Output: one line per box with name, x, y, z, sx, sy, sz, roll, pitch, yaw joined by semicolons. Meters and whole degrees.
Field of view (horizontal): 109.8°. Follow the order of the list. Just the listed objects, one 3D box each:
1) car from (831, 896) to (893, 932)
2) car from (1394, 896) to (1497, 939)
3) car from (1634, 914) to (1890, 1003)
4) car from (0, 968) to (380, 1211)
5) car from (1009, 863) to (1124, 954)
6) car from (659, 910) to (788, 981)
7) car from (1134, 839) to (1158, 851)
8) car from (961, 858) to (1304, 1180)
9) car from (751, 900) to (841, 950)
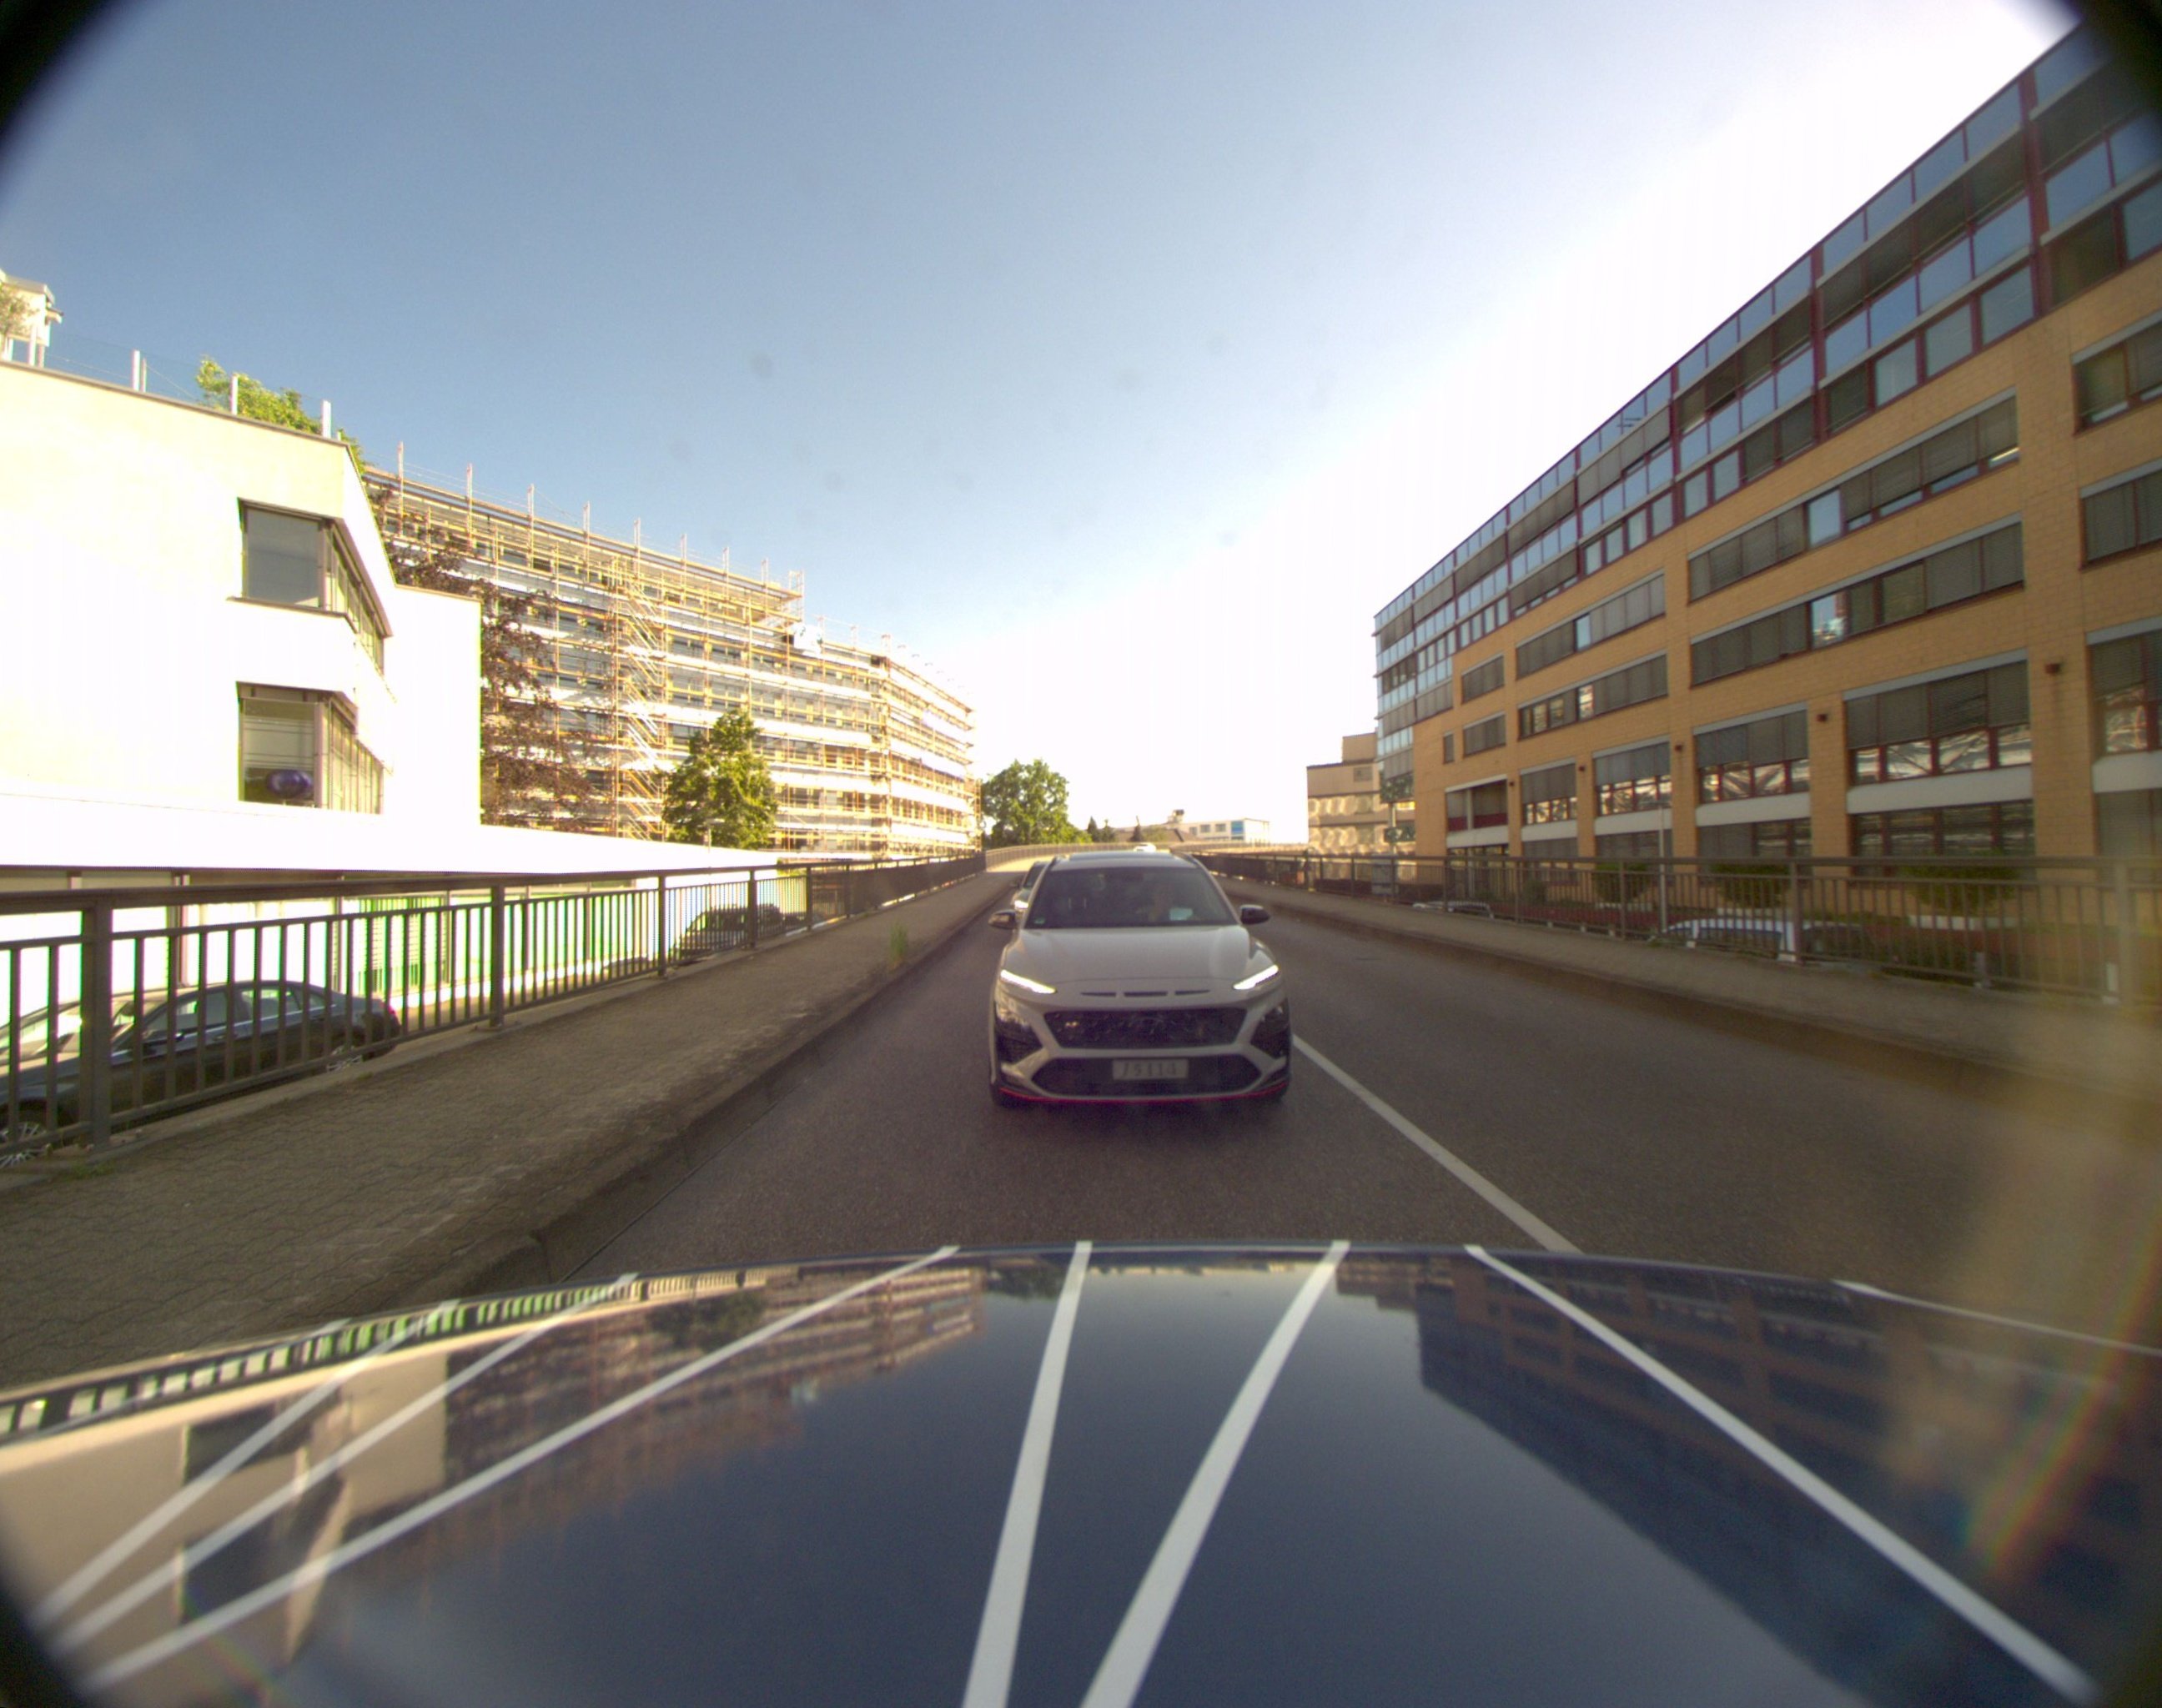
car;-10.213;2.780;35.670;1.726;1.383;4.000;-2;-1;-1
car;12.742;2.196;26.824;1.766;1.261;3.809;0;-1;-1
car;13.049;1.940;14.917;1.580;1.261;3.809;0;-1;-1
car;-9.595;2.173;7.411;1.726;1.513;4.001;-2;-1;1
car;-0.286;0.937;14.733;1.902;1.433;4.126;0;0;-1
car;-9.908;2.478;21.421;1.726;1.513;4.000;-2;-1;-1
car;8.416;-1.205;98.570;1.948;1.456;4.005;4;3;21
car;0.290;0.870;5.887;1.749;1.637;4.001;0;-1;1
car;-10.090;2.485;27.210;1.726;1.383;4.000;-2;-1;-1
